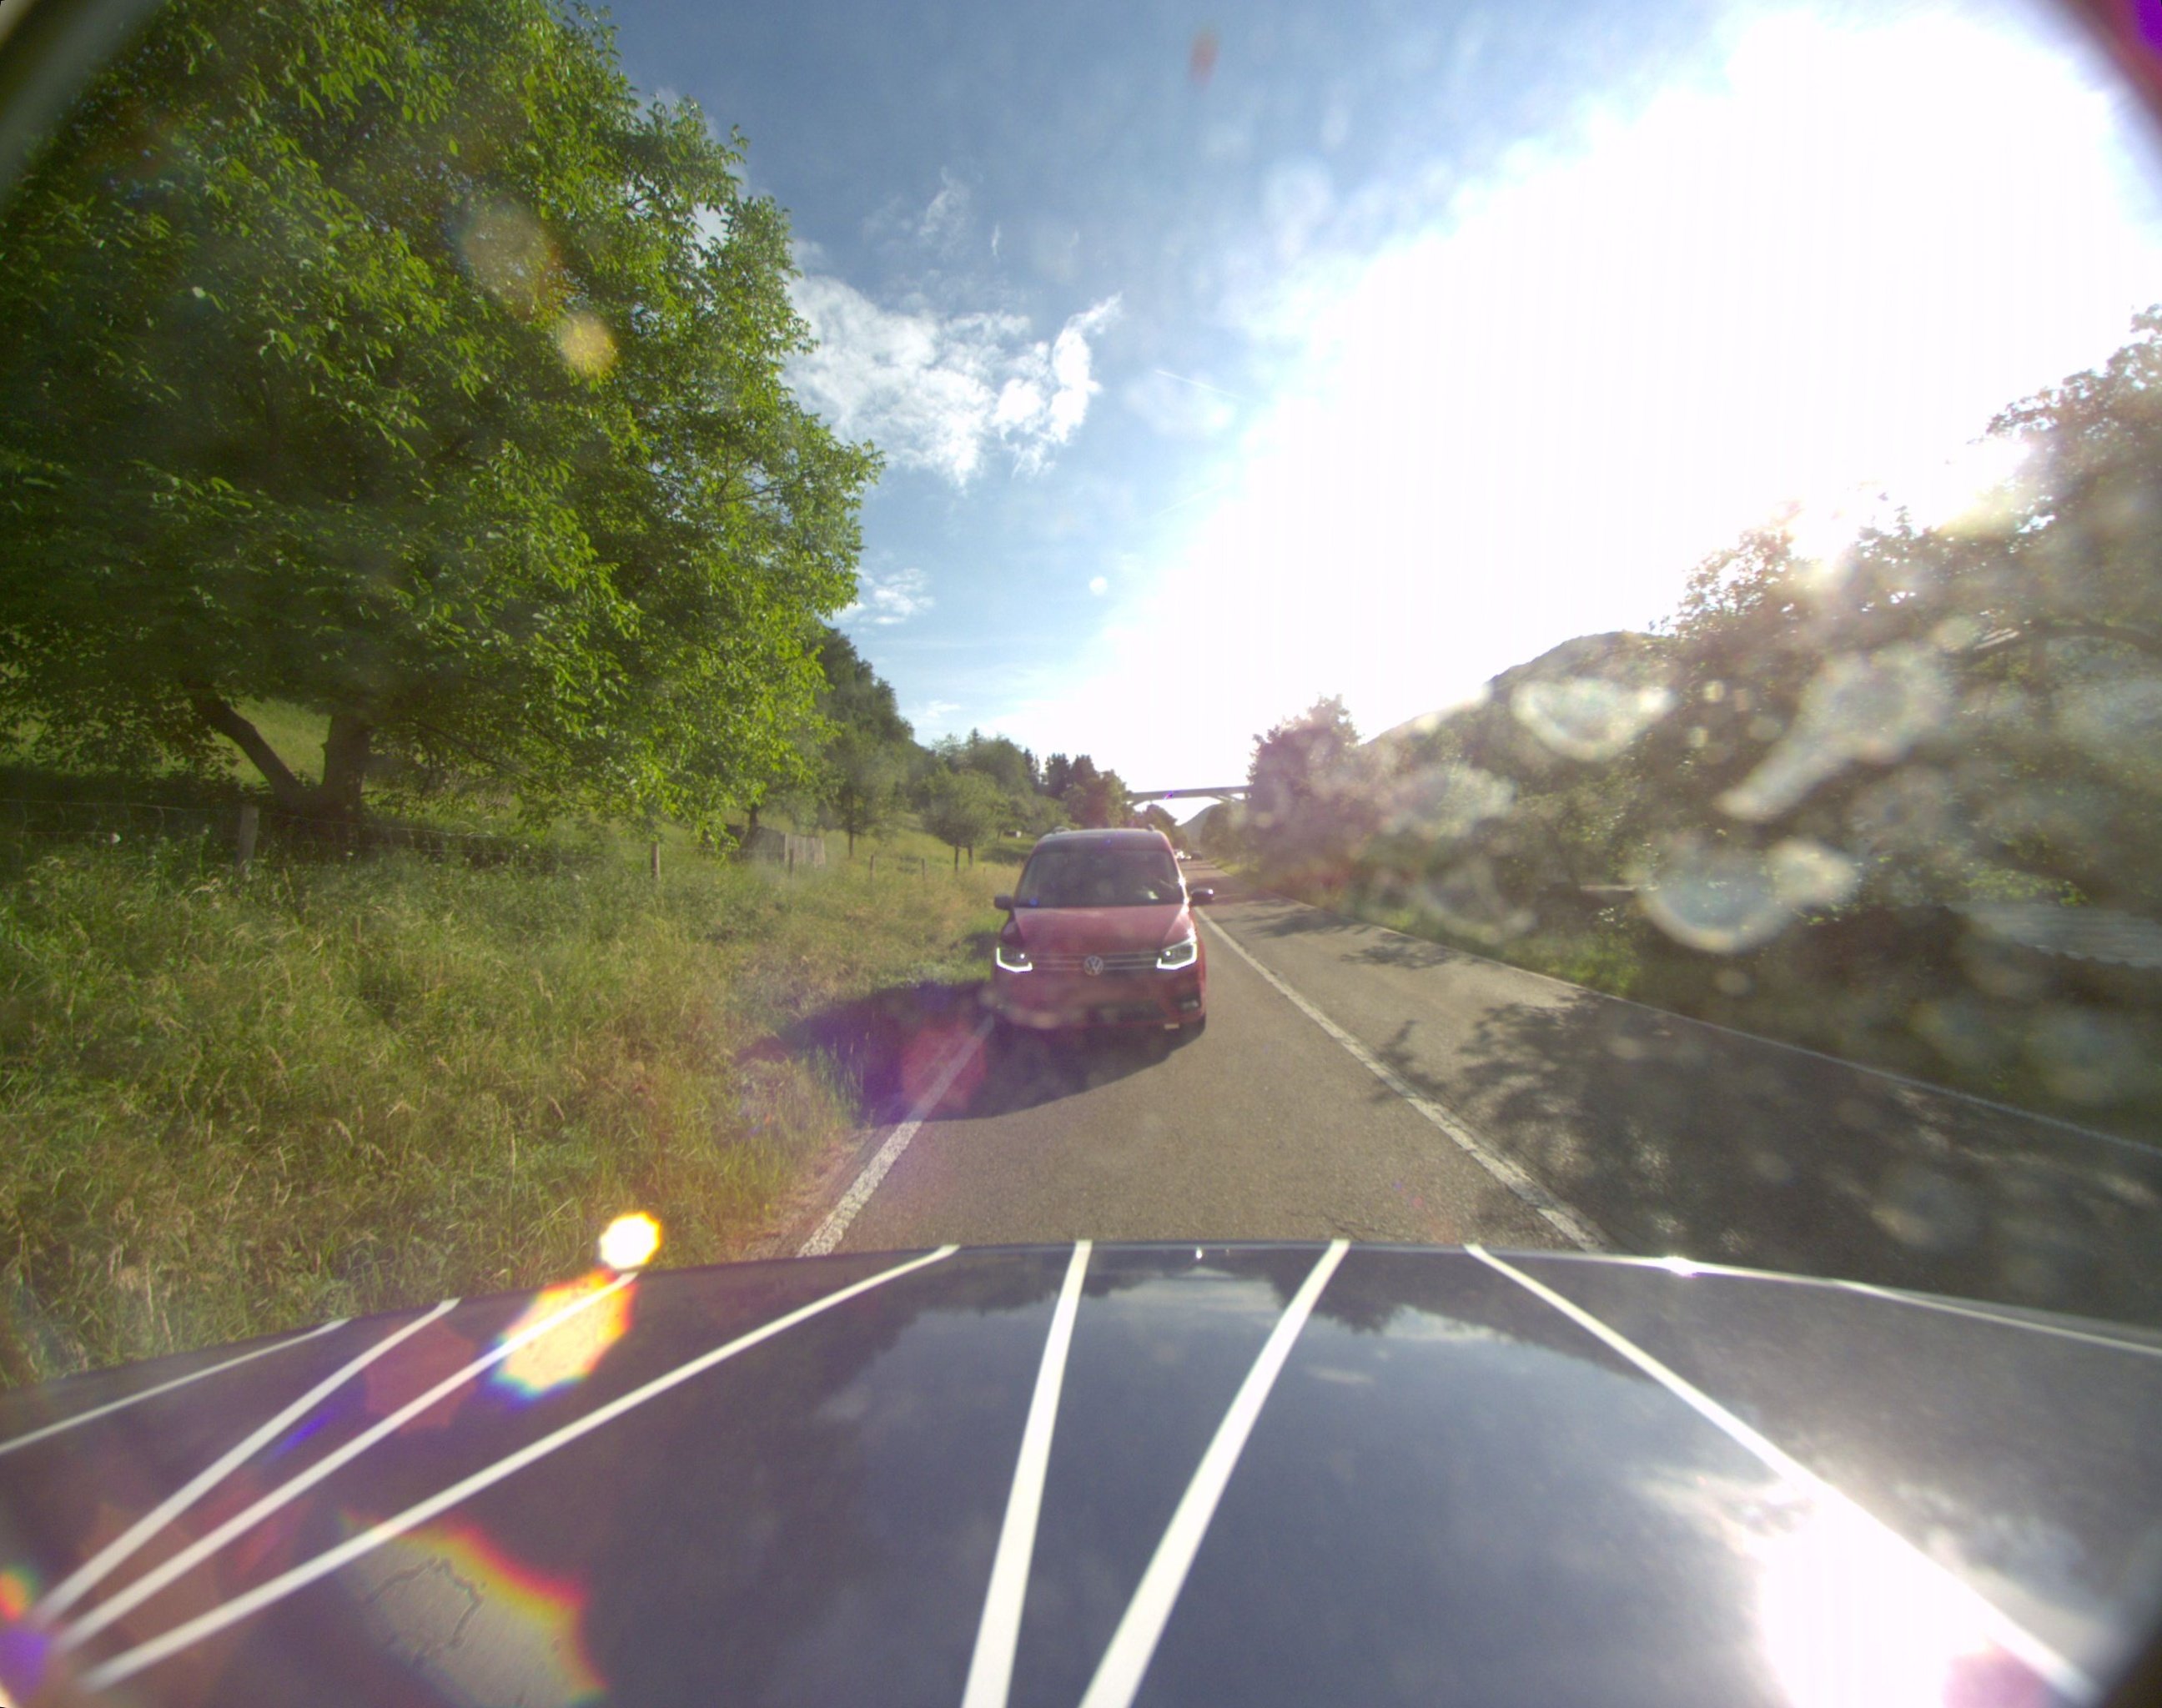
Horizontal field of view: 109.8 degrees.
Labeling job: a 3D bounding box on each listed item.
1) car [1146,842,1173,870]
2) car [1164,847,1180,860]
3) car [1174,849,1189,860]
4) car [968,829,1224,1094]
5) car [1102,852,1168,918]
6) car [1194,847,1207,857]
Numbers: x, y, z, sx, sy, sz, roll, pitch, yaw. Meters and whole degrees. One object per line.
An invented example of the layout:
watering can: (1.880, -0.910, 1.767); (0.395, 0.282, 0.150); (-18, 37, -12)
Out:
car: (5.868, 0.144, 56.856); (1.914, 2.002, 4.002); (-1, 0, 6)
car: (11.836, -0.039, 98.651); (1.817, 1.608, 4.003); (-1, 1, 10)
car: (14.733, 0.098, 111.115); (1.817, 1.608, 4.003); (-1, 0, 11)
car: (0.194, 0.772, 7.454); (1.772, 1.855, 3.875); (-3, 1, 3)
car: (1.404, 0.757, 20.033); (1.571, 1.575, 3.527); (-1, 0, 3)
car: (18.366, -0.314, 116.677); (1.817, 1.608, 3.807); (-1, 1, 6)
